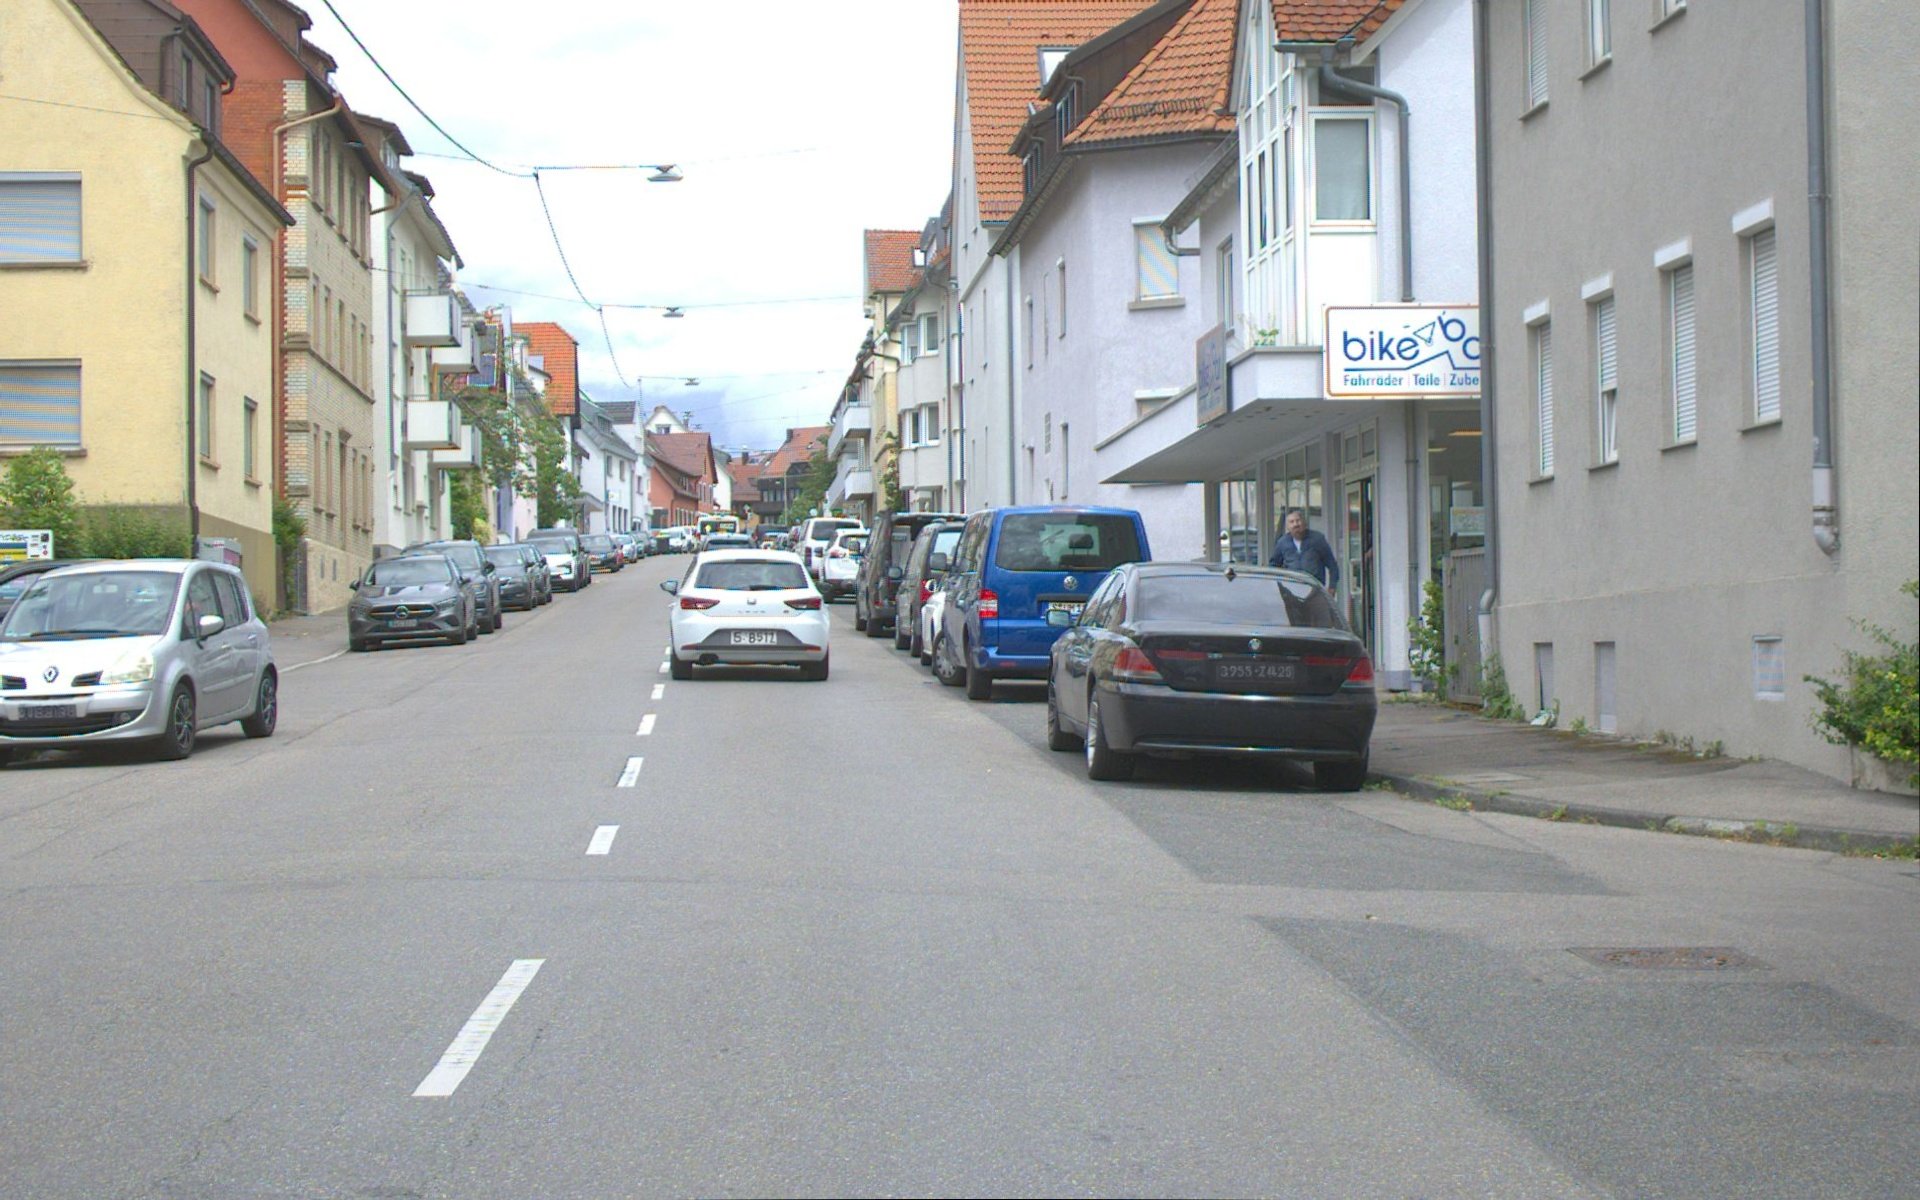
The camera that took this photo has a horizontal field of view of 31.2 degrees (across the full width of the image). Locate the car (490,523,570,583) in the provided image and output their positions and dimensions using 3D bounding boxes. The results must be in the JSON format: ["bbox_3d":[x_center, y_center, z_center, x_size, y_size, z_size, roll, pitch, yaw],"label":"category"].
[{"bbox_3d":[-12.065,-1.340,96.614,1.993,1.645,4.001,-1,1,-4],"label":"car"}]

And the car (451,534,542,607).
[{"bbox_3d":[-10.217,-0.682,75.936,1.642,1.468,4.180,-3,1,-4],"label":"car"}]

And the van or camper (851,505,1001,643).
[{"bbox_3d":[-0.606,-0.453,55.460,1.993,2.058,5.946,2,1,-4],"label":"van or camper"}]

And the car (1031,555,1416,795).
[{"bbox_3d":[1.751,0.454,24.585,1.993,1.512,4.892,1,1,-4],"label":"car"}]

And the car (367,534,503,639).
[{"bbox_3d":[-9.199,-0.275,60.533,1.993,1.645,4.555,-4,2,-5],"label":"car"}]

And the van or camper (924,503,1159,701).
[{"bbox_3d":[0.775,-0.026,35.884,1.926,1.919,4.832,0,1,-5],"label":"van or camper"}]

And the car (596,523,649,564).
[{"bbox_3d":[-13.740,-2.308,140.179,1.993,1.645,4.180,-1,1,-4],"label":"car"}]

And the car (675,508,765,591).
[{"bbox_3d":[-6.025,-1.270,85.919,2.152,2.007,4.001,1,1,-5],"label":"car"}]

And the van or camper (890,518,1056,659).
[{"bbox_3d":[0.127,-0.203,47.836,1.871,1.822,4.681,1,1,-5],"label":"van or camper"}]

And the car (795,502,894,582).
[{"bbox_3d":[-2.625,-1.324,77.281,1.940,1.687,4.001,2,1,-5],"label":"car"}]

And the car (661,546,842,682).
[{"bbox_3d":[-2.406,0.124,39.080,1.940,1.434,4.001,0,1,-5],"label":"car"}]

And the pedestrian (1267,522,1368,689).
[{"bbox_3d":[3.740,0.049,35.986,0.872,1.719,0.618,0,1,31],"label":"pedestrian"}]

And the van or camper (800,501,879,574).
[{"bbox_3d":[-3.513,-1.812,99.598,1.940,2.047,4.564,0,1,-6],"label":"van or camper"}]

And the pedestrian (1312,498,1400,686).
[{"bbox_3d":[4.282,-0.092,37.201,0.760,2.007,0.618,0,1,31],"label":"pedestrian"}]

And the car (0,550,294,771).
[{"bbox_3d":[-6.862,0.447,27.963,1.834,1.572,4.031,-4,1,3],"label":"car"}]

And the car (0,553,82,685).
[{"bbox_3d":[-12.758,0.289,40.753,4.229,1.467,2.000,-2,-2,-3],"label":"car"}]

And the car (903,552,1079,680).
[{"bbox_3d":[0.324,0.155,42.142,1.714,1.431,4.640,1,1,-5],"label":"car"}]

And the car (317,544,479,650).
[{"bbox_3d":[-8.843,-0.080,54.438,1.993,1.467,4.244,-4,2,-3],"label":"car"}]
